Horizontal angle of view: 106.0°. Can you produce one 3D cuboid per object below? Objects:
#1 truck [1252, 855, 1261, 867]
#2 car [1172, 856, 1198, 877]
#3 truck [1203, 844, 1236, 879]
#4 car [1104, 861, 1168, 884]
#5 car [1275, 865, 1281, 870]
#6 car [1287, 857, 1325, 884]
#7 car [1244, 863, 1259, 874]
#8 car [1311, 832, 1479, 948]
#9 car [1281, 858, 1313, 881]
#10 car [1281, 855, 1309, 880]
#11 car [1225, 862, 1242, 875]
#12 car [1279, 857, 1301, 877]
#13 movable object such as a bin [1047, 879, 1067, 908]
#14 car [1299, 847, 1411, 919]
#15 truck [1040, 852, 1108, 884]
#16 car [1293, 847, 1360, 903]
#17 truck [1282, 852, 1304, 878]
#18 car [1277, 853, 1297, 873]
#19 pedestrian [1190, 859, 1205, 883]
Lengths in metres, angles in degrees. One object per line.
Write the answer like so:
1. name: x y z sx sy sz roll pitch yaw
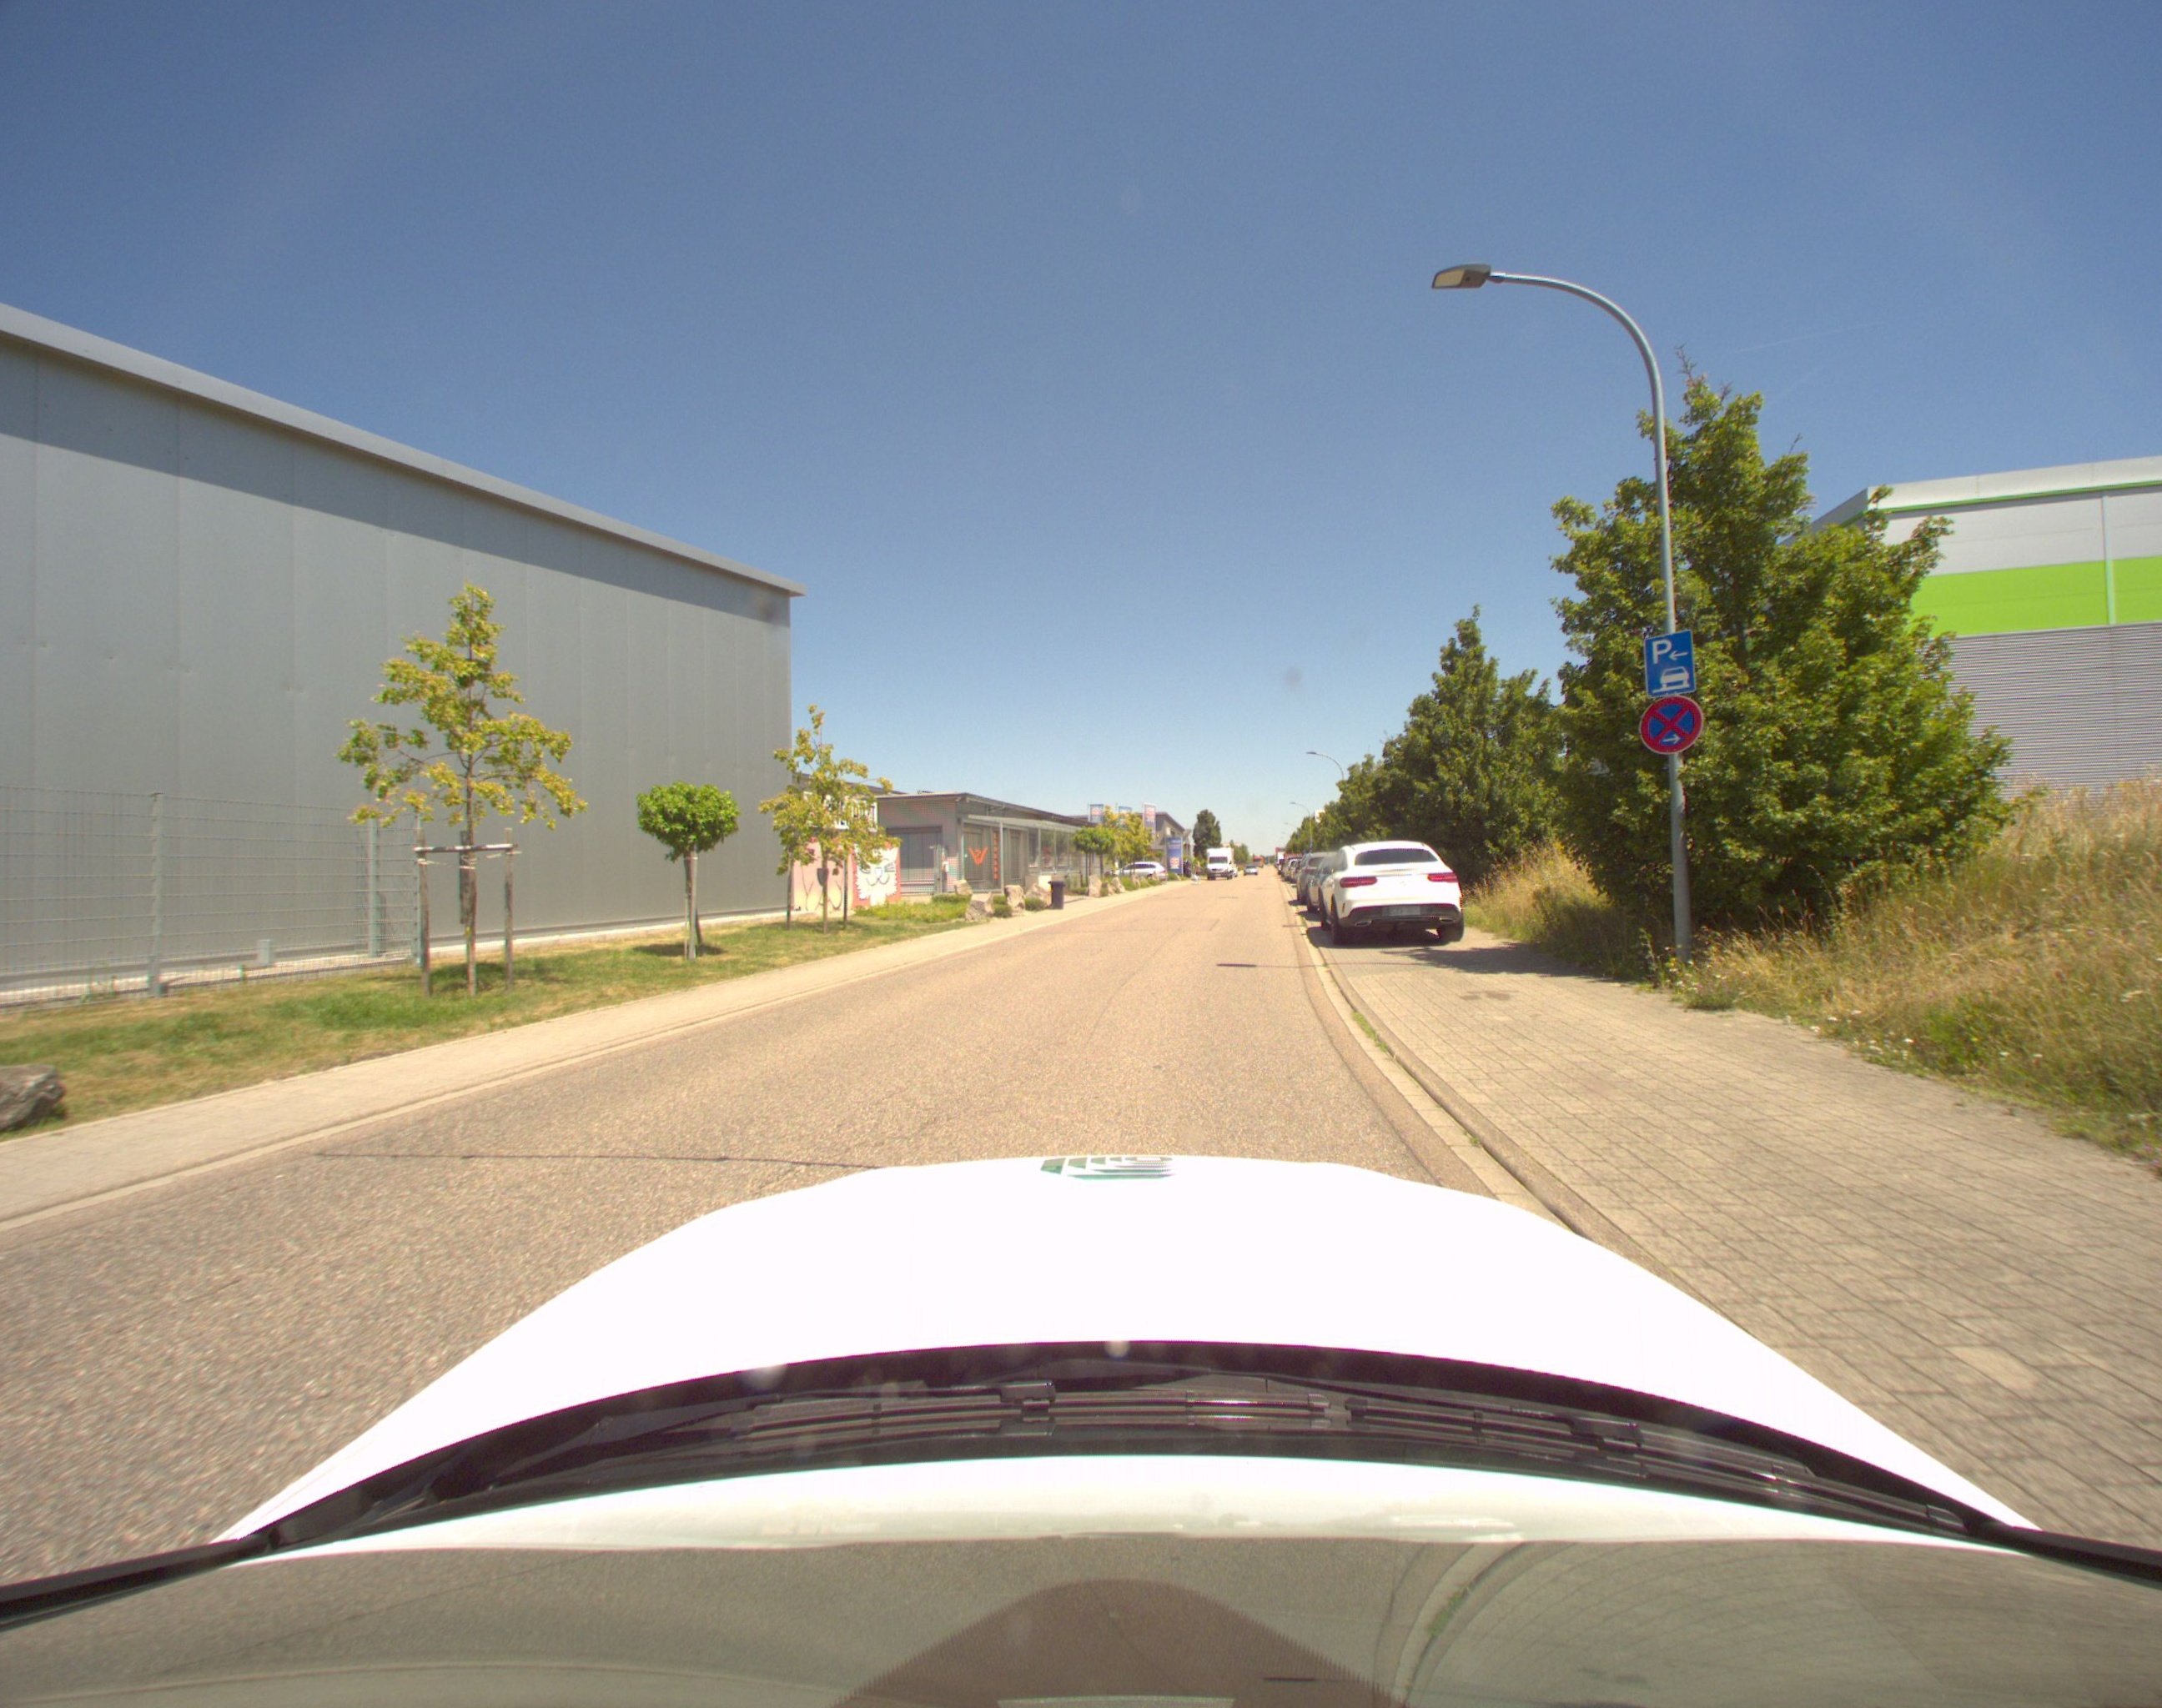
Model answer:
1. truck: 54.625 2.175 253.361 2.431 3.513 8.301 -3 -1 13
2. car: 10.219 1.232 79.924 1.980 1.956 5.236 -1 -1 13
3. truck: 12.511 0.744 73.418 2.345 2.860 6.438 -3 -2 13
4. car: 3.895 1.306 57.258 4.234 1.518 1.872 -1 -1 12
5. car: 51.810 3.586 214.261 1.574 1.410 3.512 -1 -1 13
6. car: 13.725 0.983 49.917 1.793 1.483 4.787 -3 -1 10
7. car: 22.940 1.976 109.244 1.771 1.422 4.429 -3 -2 13
8. car: 5.500 0.596 14.942 2.129 1.699 4.801 -3 -1 13
9. car: 14.717 1.053 55.709 1.703 1.483 4.787 -3 -1 10
10. car: 16.024 0.991 61.138 1.798 1.725 4.791 -3 -1 14
11. car: 17.734 1.739 94.492 1.718 1.458 4.507 -1 -1 13
12. car: 21.075 1.323 82.391 1.979 1.885 5.174 -3 -2 13
13. movable object such as a bin: -0.783 1.296 26.777 0.567 0.949 0.513 -1 -1 7
14. car: 6.780 0.688 20.650 1.892 1.529 4.642 -3 -1 9
15. truck: -0.857 1.567 92.290 7.961 3.557 2.602 -1 -1 42
16. car: 8.146 0.684 27.385 1.792 1.636 4.473 -3 -1 13
17. truck: 18.789 0.965 72.205 1.667 2.182 4.405 -3 -2 13
18. car: 26.109 1.166 103.142 2.251 2.497 6.176 -2 -2 15
19. pedestrian: 7.966 1.155 55.626 0.892 1.574 0.788 1 -1 14
